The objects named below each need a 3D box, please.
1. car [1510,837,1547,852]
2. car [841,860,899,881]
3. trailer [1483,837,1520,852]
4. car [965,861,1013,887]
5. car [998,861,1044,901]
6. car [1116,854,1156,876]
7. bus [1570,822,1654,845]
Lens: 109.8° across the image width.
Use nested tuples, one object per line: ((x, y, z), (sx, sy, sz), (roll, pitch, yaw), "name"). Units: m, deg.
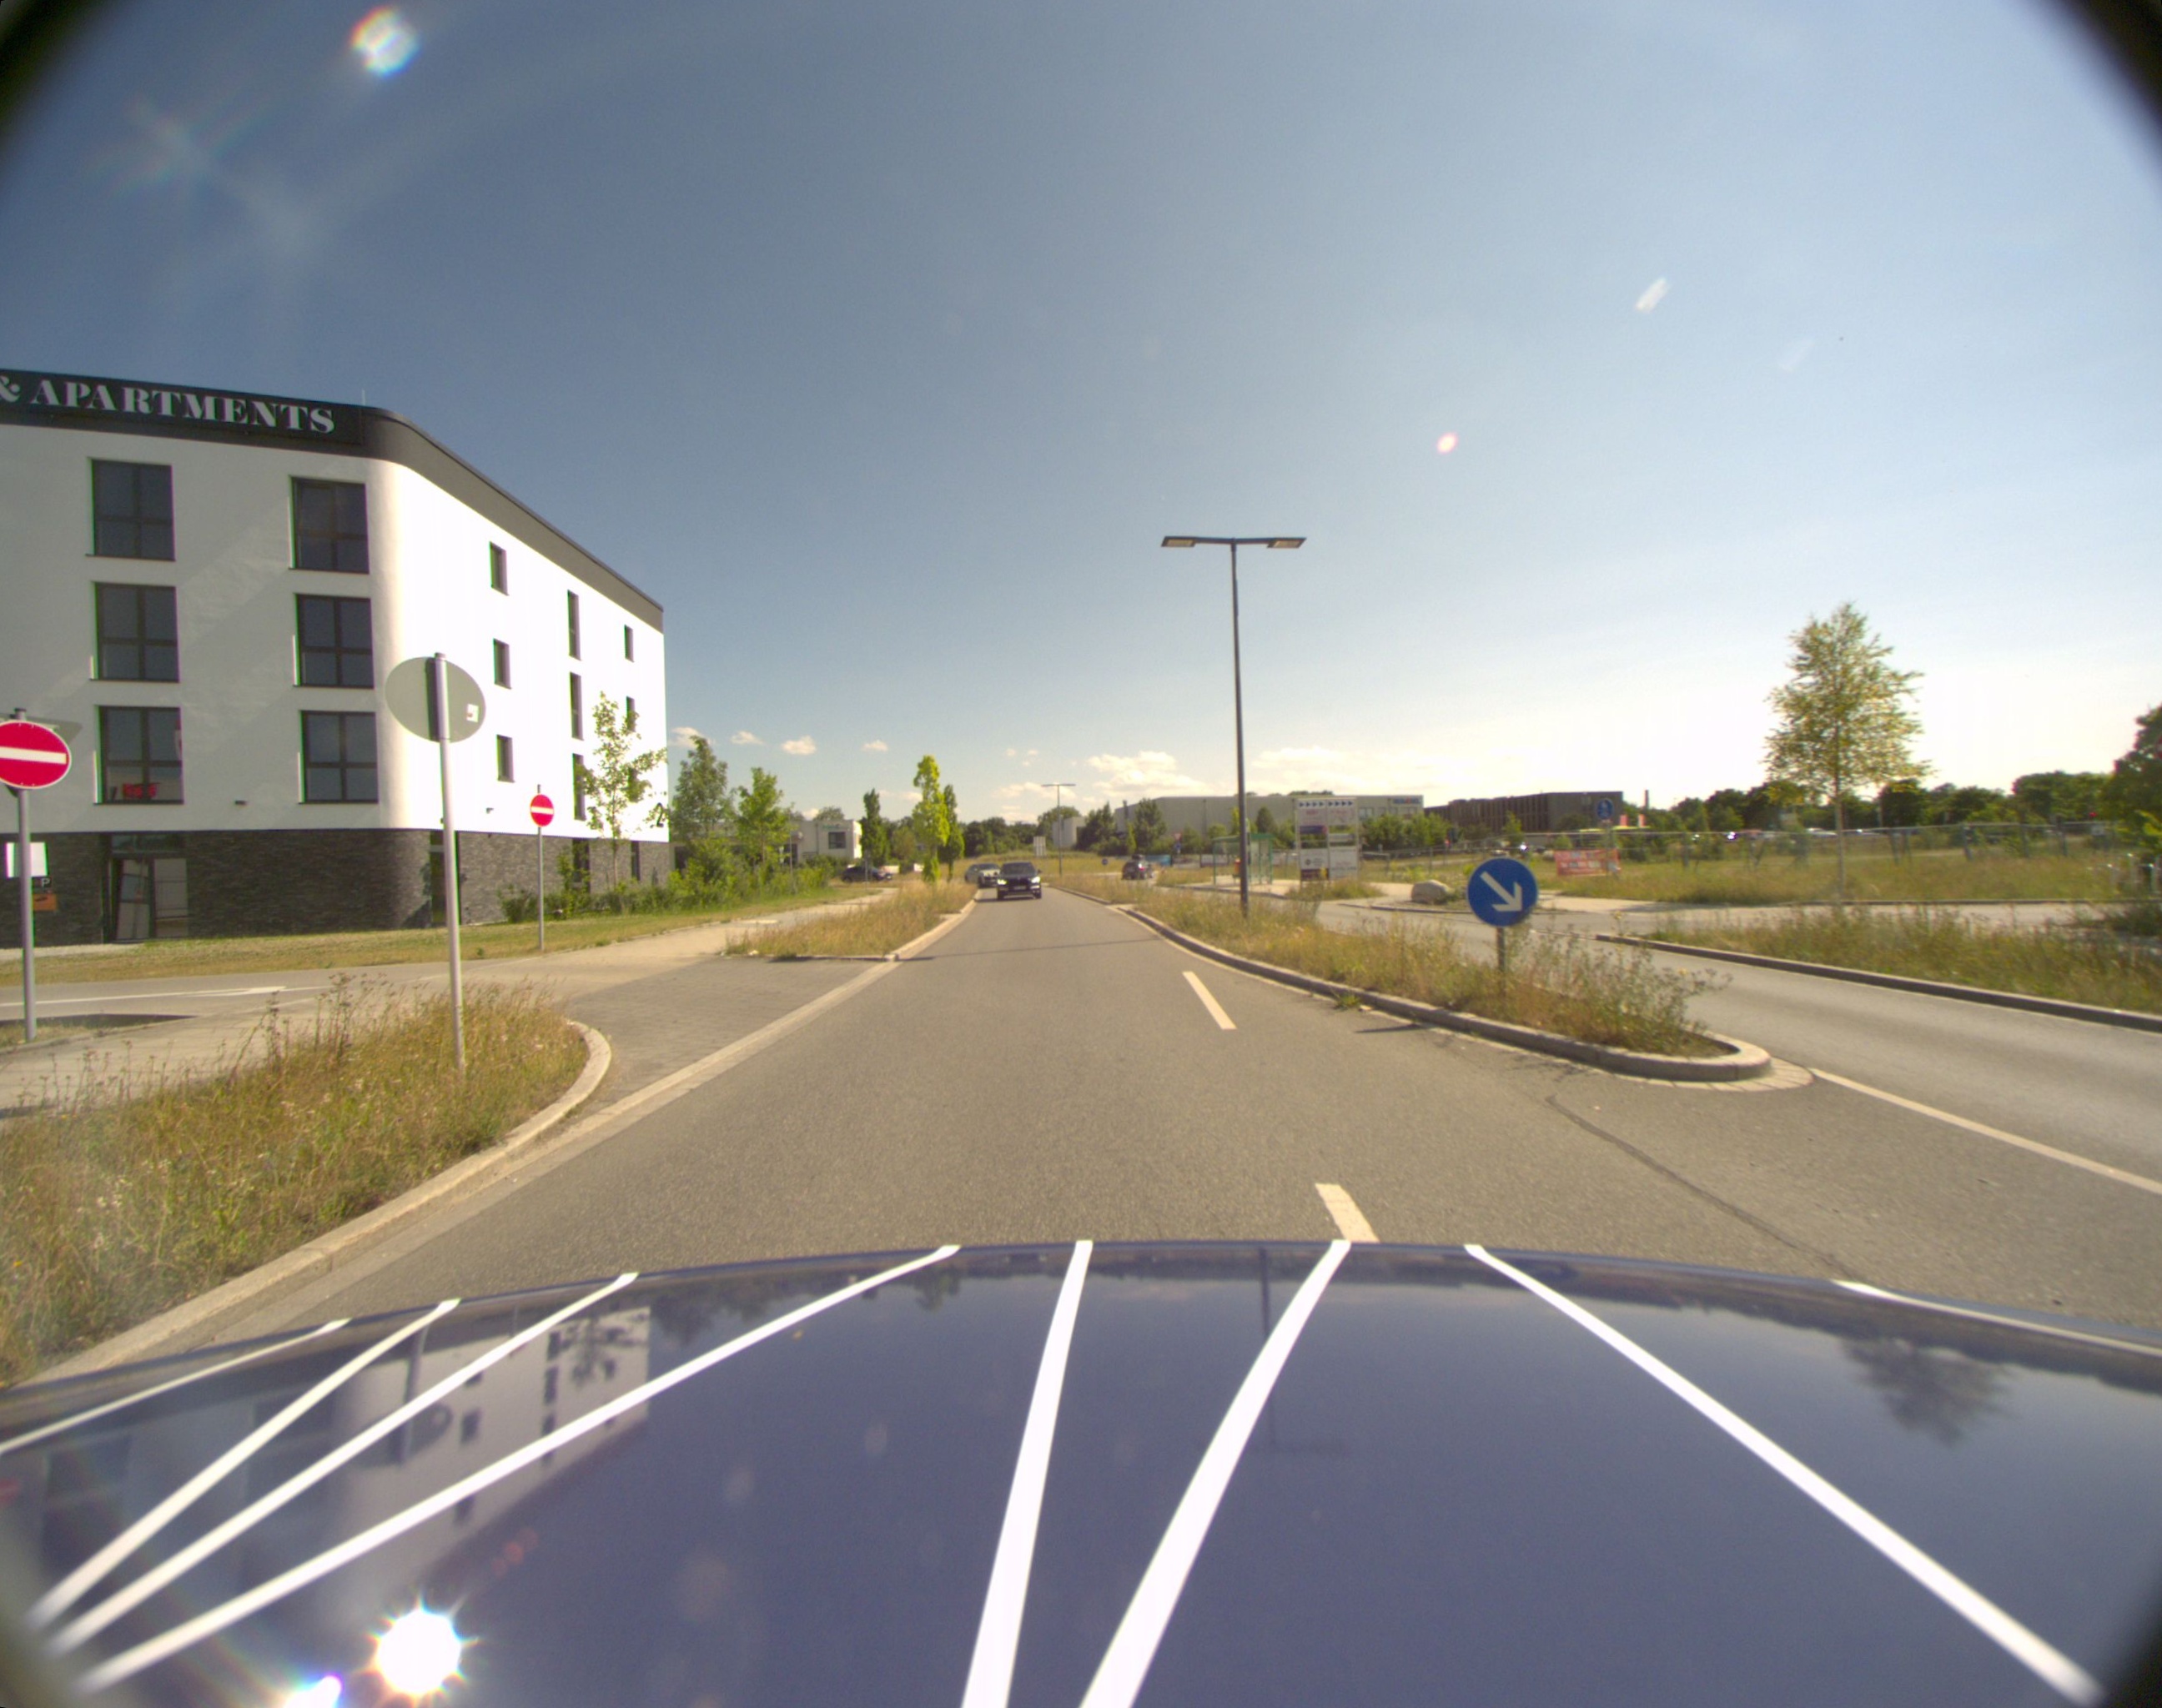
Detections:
((57.706, -1.251, 98.007), (4.001, 1.849, 1.826), (-1, 1, -12), "car")
((-18.096, 1.411, 65.199), (4.388, 1.565, 1.844), (-1, 2, 18), "car")
((53.803, -1.178, 97.231), (4.001, 1.849, 1.826), (-1, 1, -12), "trailer")
((-6.450, 1.337, 52.944), (1.845, 1.565, 4.387), (-3, 2, -27), "car")
((-2.658, 1.116, 33.352), (1.842, 1.565, 3.998), (-3, 0, -5), "car")
((4.292, 0.832, 58.403), (1.995, 1.508, 4.202), (-1, 1, 20), "car")
((70.916, -2.766, 101.442), (11.576, 2.719, 2.576), (-2, 1, -17), "bus")
